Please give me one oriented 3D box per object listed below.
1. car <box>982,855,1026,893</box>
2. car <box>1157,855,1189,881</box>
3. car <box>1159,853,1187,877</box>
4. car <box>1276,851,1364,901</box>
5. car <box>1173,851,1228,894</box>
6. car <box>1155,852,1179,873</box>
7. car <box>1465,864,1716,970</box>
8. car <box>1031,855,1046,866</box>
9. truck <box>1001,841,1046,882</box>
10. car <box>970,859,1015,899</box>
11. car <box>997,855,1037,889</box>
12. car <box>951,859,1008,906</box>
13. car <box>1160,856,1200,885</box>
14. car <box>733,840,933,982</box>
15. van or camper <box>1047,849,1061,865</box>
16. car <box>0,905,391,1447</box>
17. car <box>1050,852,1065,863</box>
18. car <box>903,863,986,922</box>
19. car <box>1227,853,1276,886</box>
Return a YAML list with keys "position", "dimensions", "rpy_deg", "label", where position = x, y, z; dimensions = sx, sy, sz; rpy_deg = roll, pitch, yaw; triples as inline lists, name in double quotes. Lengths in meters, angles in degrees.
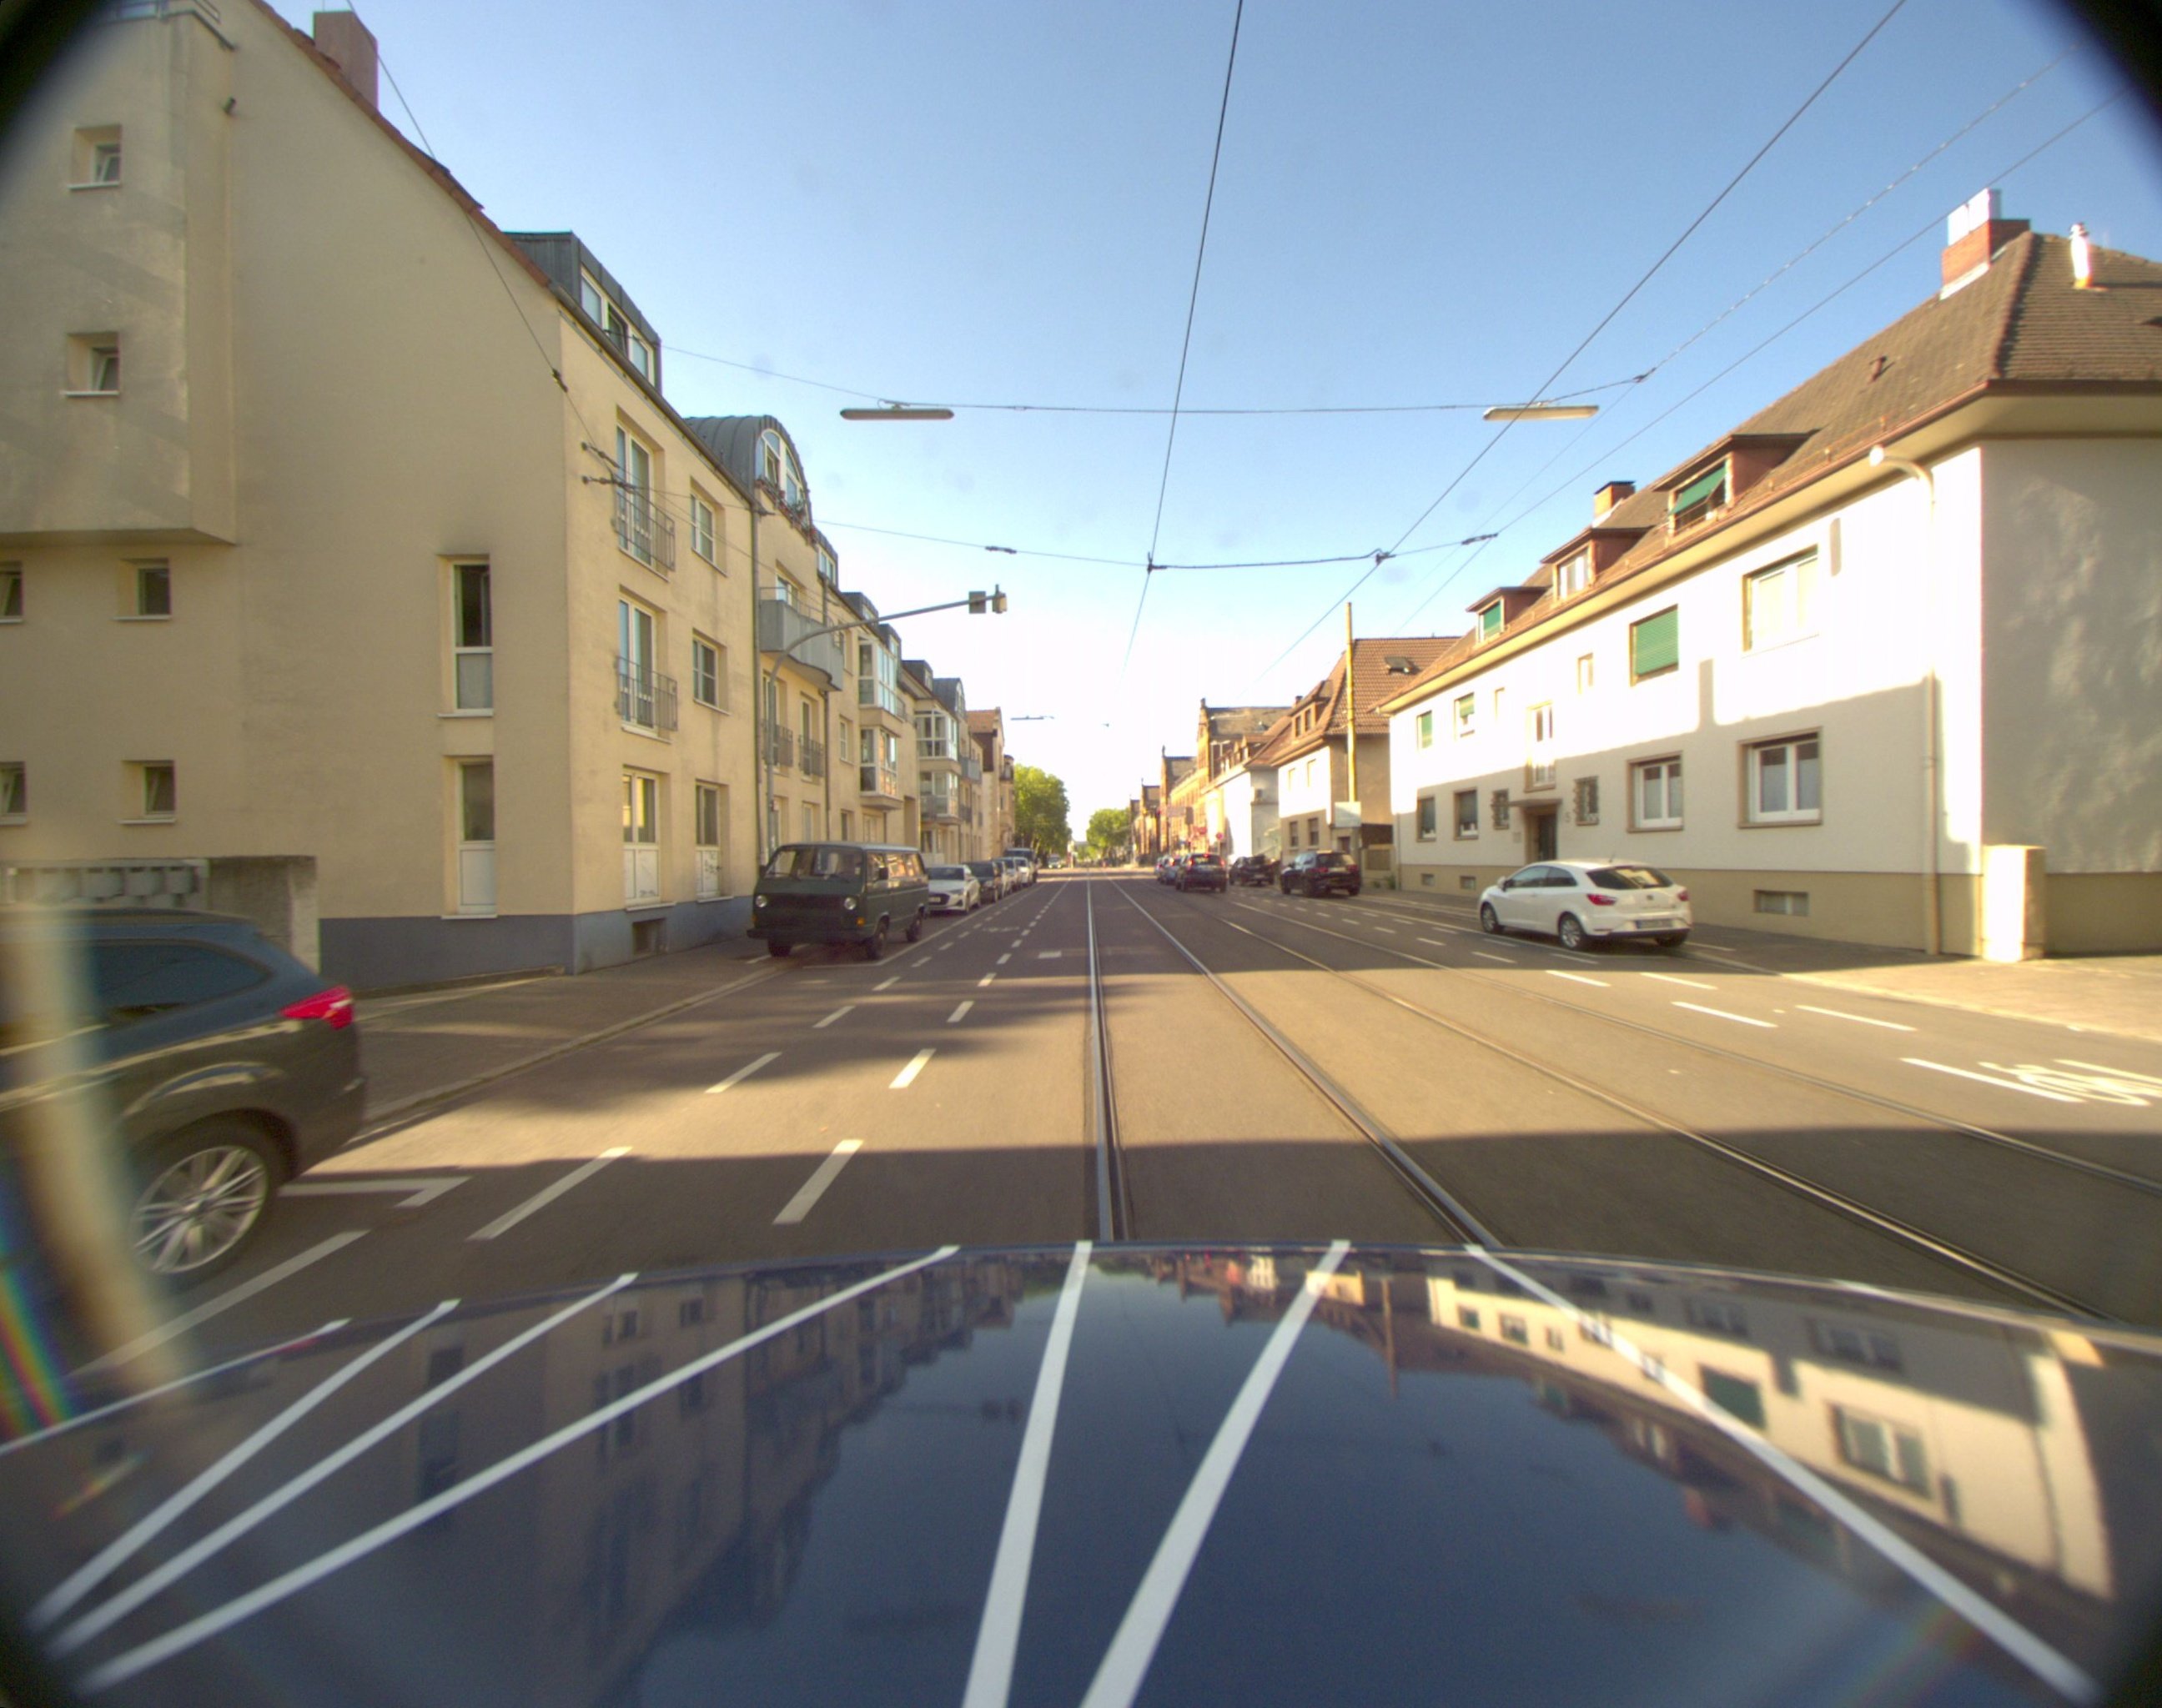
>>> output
- position: [-3.678, 0.932, 37.050]
  dimensions: [1.606, 1.690, 3.989]
  rpy_deg: [-3, 0, 1]
  label: "car"
- position: [5.521, 0.822, 45.837]
  dimensions: [1.586, 1.452, 3.613]
  rpy_deg: [0, 0, 2]
  label: "car"
- position: [6.421, 0.707, 53.311]
  dimensions: [1.742, 1.601, 4.716]
  rpy_deg: [0, 0, 5]
  label: "car"
- position: [8.687, 0.737, 28.046]
  dimensions: [1.766, 1.695, 4.555]
  rpy_deg: [0, 0, 0]
  label: "car"
- position: [5.060, 0.747, 32.612]
  dimensions: [1.708, 1.695, 4.364]
  rpy_deg: [0, 0, 1]
  label: "car"
- position: [6.714, 0.669, 59.517]
  dimensions: [1.687, 1.558, 3.929]
  rpy_deg: [1, 0, 4]
  label: "car"
- position: [8.415, 0.945, 13.044]
  dimensions: [1.635, 1.449, 4.015]
  rpy_deg: [0, 0, 1]
  label: "car"
- position: [-6.378, 1.028, 114.037]
  dimensions: [1.911, 1.608, 4.572]
  rpy_deg: [-2, -1, 0]
  label: "car"
- position: [-3.645, 0.458, 49.057]
  dimensions: [2.301, 2.463, 6.146]
  rpy_deg: [-1, 0, 1]
  label: "truck"
- position: [-3.730, 1.008, 32.523]
  dimensions: [1.500, 1.548, 3.364]
  rpy_deg: [-3, 0, 0]
  label: "car"
- position: [-3.515, 0.943, 42.473]
  dimensions: [1.743, 1.736, 4.255]
  rpy_deg: [-3, 0, 1]
  label: "car"
- position: [-3.652, 0.997, 27.910]
  dimensions: [1.558, 1.548, 3.652]
  rpy_deg: [-3, 0, 0]
  label: "car"
- position: [5.231, 0.841, 40.520]
  dimensions: [1.621, 1.452, 4.075]
  rpy_deg: [0, 0, 1]
  label: "car"
- position: [-4.019, 0.826, 13.245]
  dimensions: [1.910, 1.975, 4.562]
  rpy_deg: [-3, 0, 0]
  label: "car"
- position: [-4.444, 0.519, 125.396]
  dimensions: [1.998, 2.346, 5.600]
  rpy_deg: [-1, -1, 0]
  label: "van or camper"
- position: [-4.230, 1.075, 1.461]
  dimensions: [1.749, 1.589, 4.433]
  rpy_deg: [-3, 0, -1]
  label: "car"
- position: [-3.514, 0.559, 115.331]
  dimensions: [1.984, 1.539, 4.035]
  rpy_deg: [-1, -1, 1]
  label: "car"
- position: [-3.962, 1.082, 22.694]
  dimensions: [1.681, 1.482, 4.172]
  rpy_deg: [-3, 0, 0]
  label: "car"
- position: [8.857, 0.748, 39.765]
  dimensions: [1.619, 1.618, 3.921]
  rpy_deg: [0, 0, 0]
  label: "car"
